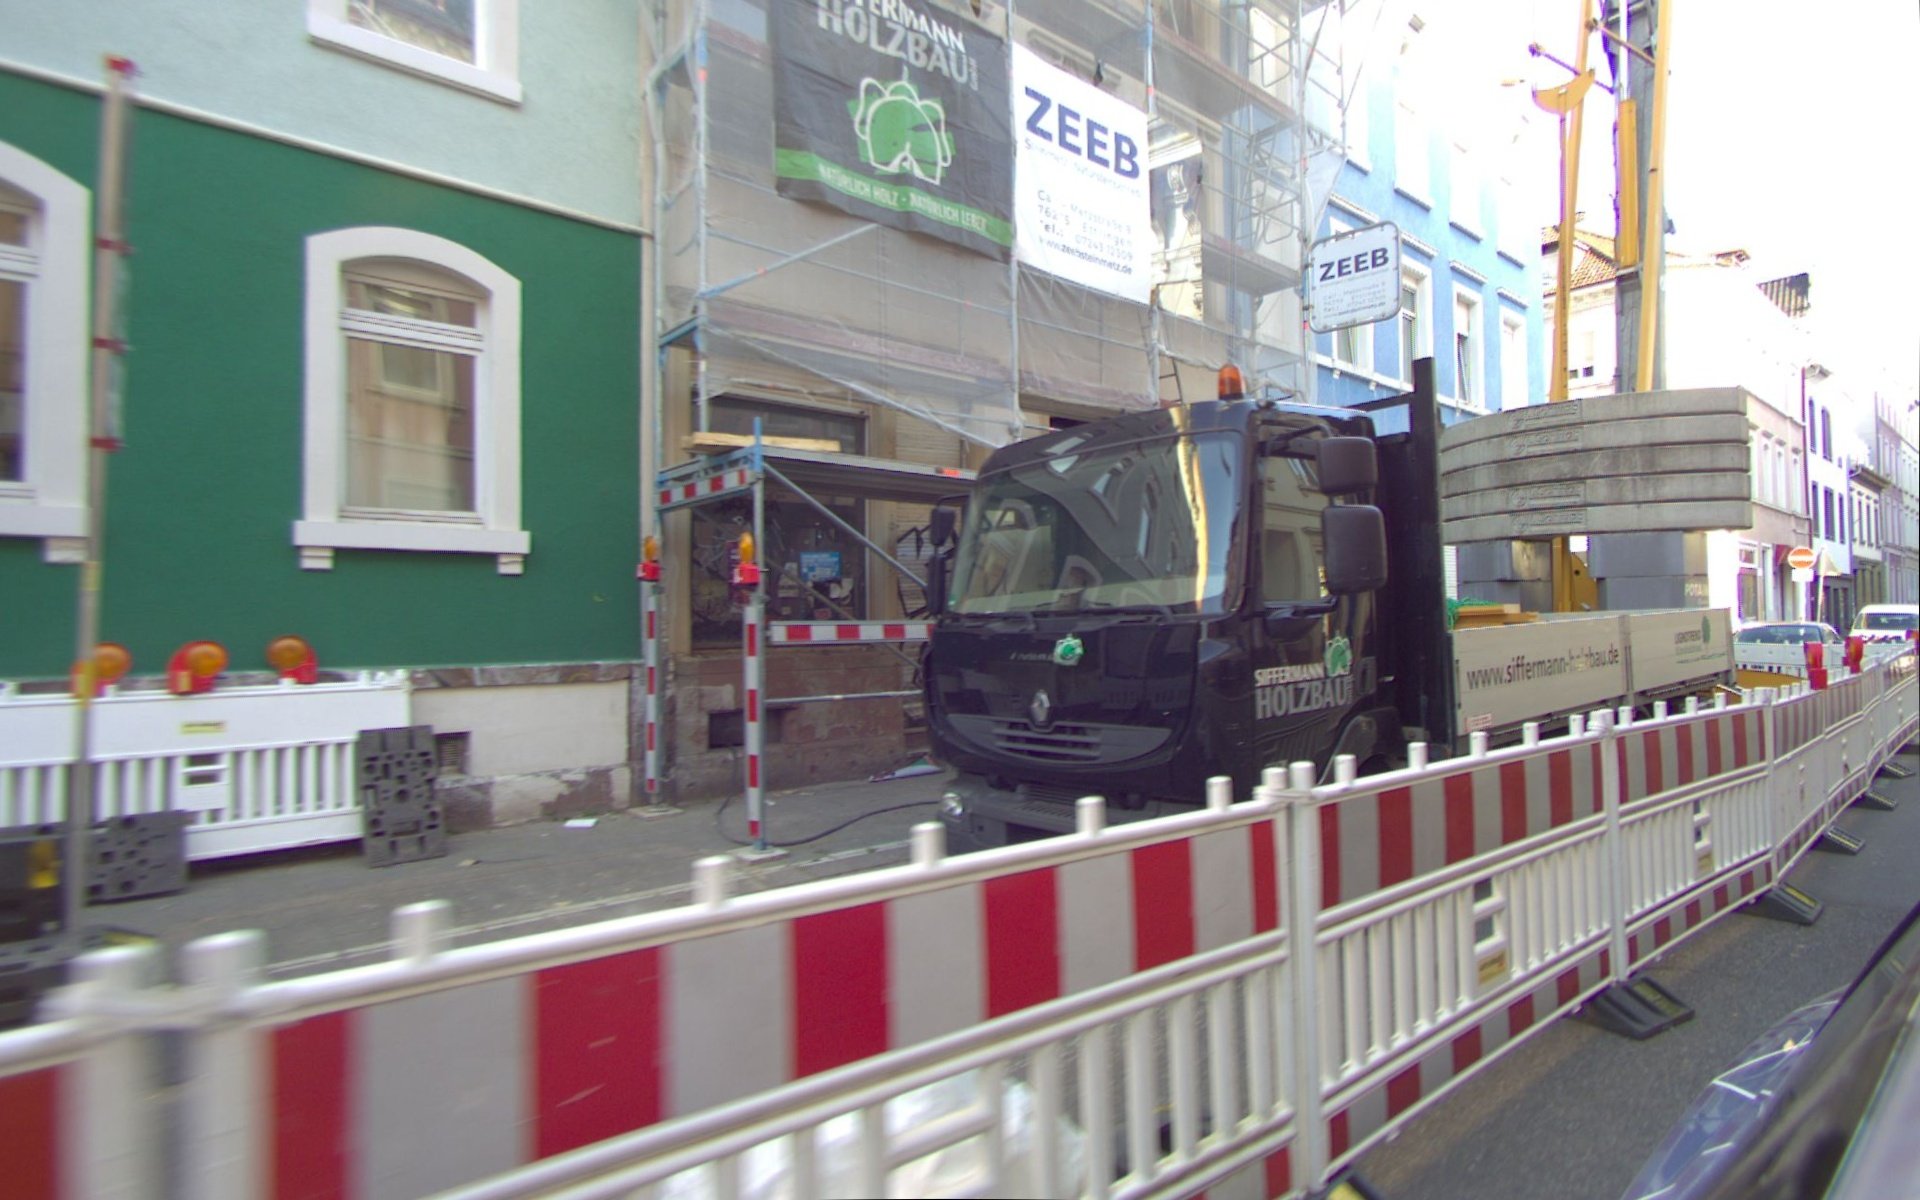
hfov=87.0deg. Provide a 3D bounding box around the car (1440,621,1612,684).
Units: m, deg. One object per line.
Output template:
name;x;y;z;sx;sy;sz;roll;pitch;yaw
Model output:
car;16.899;1.534;30.368;1.824;1.653;4.066;-2;0;-40

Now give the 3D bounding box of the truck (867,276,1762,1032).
truck;3.100;0.222;7.213;7.263;2.850;2.665;0;-3;-41

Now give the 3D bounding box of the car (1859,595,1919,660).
car;28.712;0.771;30.634;4.294;1.839;1.751;0;0;-41

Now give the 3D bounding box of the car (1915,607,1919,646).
car;39.991;1.047;40.973;3.707;1.523;1.618;0;0;-41

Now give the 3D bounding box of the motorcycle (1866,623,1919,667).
motorcycle;26.166;1.250;28.237;1.956;1.099;0.722;-1;2;-30

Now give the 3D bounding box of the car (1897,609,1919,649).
car;36.748;1.064;38.123;3.814;1.413;1.734;0;0;-41

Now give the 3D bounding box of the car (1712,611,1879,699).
car;15.746;0.967;19.011;3.964;1.453;1.774;0;-2;-42
